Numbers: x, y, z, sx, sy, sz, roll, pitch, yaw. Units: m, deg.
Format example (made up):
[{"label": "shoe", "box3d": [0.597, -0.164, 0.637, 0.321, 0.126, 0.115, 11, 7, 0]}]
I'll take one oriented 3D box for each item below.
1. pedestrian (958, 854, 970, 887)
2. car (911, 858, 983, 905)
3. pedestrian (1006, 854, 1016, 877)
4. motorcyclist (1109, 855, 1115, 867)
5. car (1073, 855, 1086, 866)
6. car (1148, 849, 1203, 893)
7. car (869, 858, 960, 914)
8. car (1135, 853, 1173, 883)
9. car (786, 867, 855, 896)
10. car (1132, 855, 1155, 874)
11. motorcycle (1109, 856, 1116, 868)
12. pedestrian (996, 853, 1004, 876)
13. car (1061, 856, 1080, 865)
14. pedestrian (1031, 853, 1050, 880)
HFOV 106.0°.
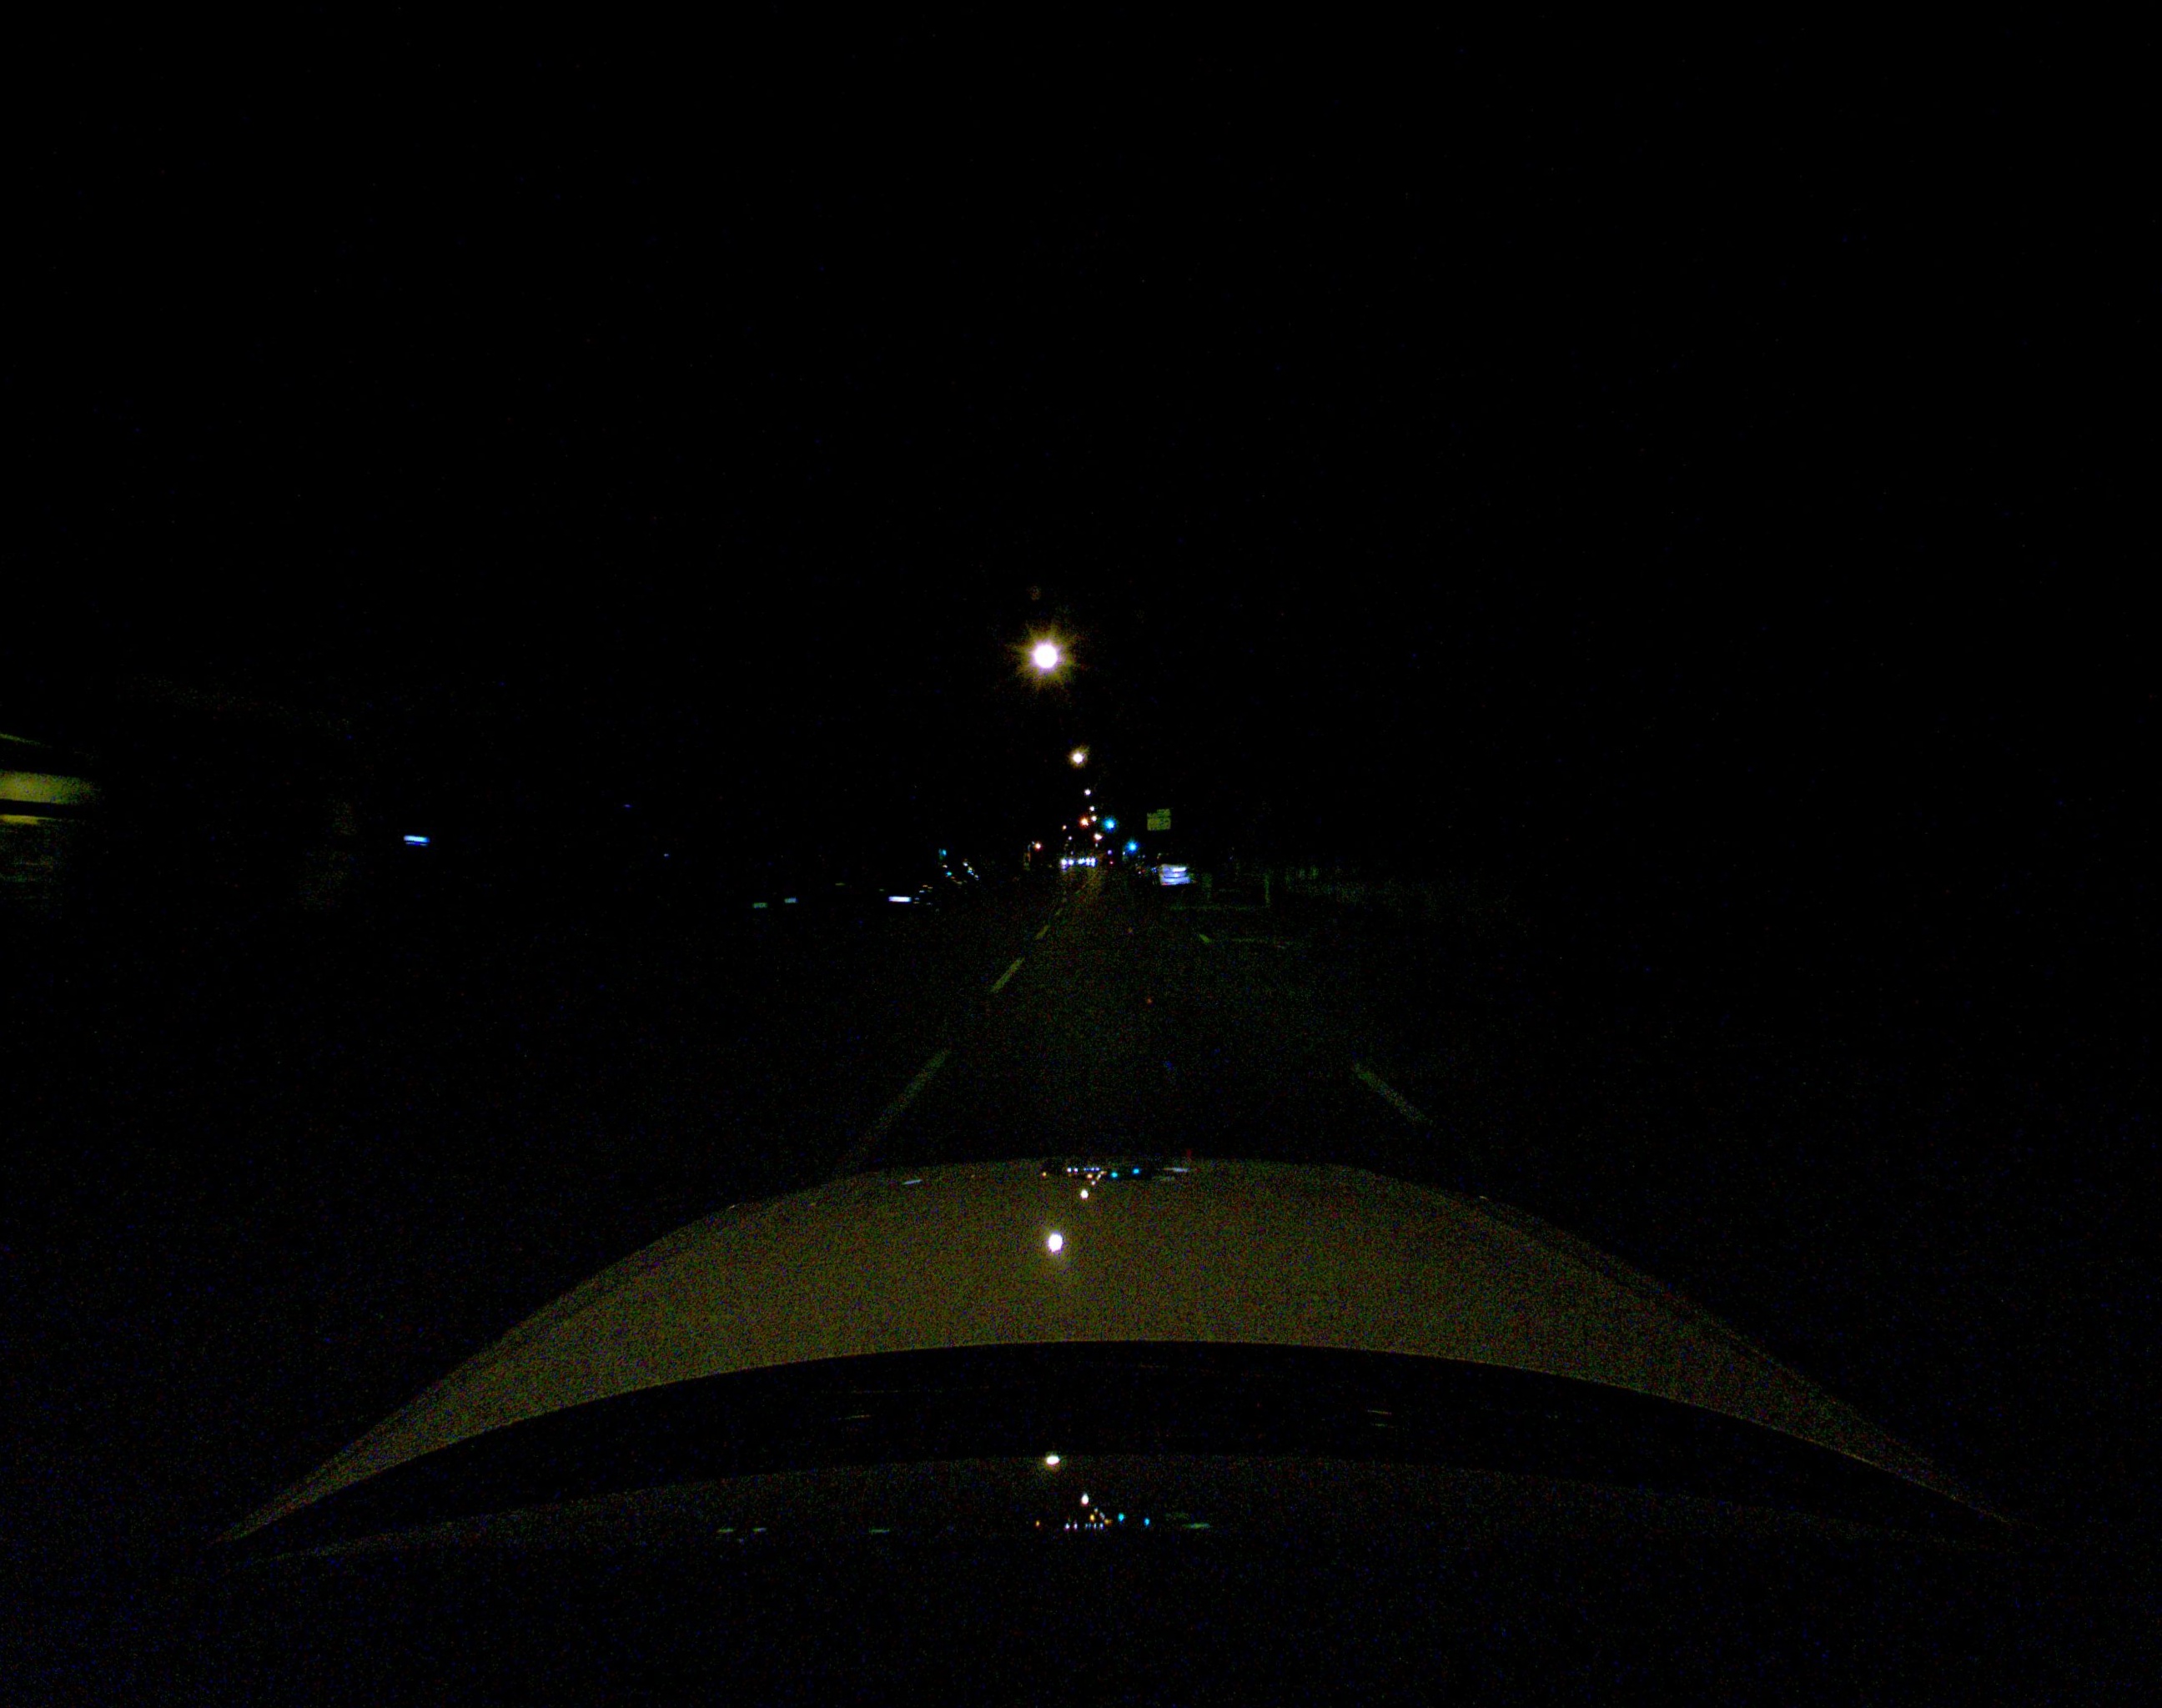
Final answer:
[{"label": "pedestrian", "box3d": [-6.244, 0.877, 43.430, 0.580, 1.700, 0.530, 0, -1, -7]}, {"label": "car", "box3d": [-4.634, 0.907, 28.724, 1.715, 1.437, 4.810, -1, 0, 0]}, {"label": "pedestrian", "box3d": [-5.357, 0.855, 62.375, 0.717, 1.765, 0.602, 0, -1, -7]}, {"label": "motorcyclist", "box3d": [4.591, 1.031, 119.780, 0.845, 1.752, 0.806, -1, -1, 1]}, {"label": "car", "box3d": [-0.200, 0.991, 125.050, 1.937, 1.717, 4.001, -1, -1, 2]}, {"label": "car", "box3d": [3.817, 0.645, 33.471, 1.805, 1.594, 4.275, -3, 0, 2]}, {"label": "car", "box3d": [-4.667, 0.842, 23.414, 1.715, 1.437, 4.191, 0, 0, 1]}, {"label": "car", "box3d": [4.119, 0.750, 46.699, 1.862, 1.526, 4.151, -3, 0, 2]}, {"label": "car", "box3d": [-13.625, 1.426, 42.541, 3.224, 1.453, 1.806, -1, -2, 34]}, {"label": "car", "box3d": [5.056, 0.809, 66.339, 1.624, 1.496, 3.414, -1, 0, 0]}, {"label": "motorcycle", "box3d": [4.596, 1.234, 119.779, 0.927, 1.752, 2.626, -1, -1, 2]}, {"label": "pedestrian", "box3d": [-6.136, 0.804, 61.974, 0.569, 1.700, 0.927, 0, -1, -8]}, {"label": "car", "box3d": [-1.818, 1.139, 139.464, 1.700, 1.457, 3.944, -1, -1, 23]}, {"label": "pedestrian", "box3d": [-2.602, 0.824, 52.417, 0.757, 1.699, 0.932, 1, 0, 40]}]
